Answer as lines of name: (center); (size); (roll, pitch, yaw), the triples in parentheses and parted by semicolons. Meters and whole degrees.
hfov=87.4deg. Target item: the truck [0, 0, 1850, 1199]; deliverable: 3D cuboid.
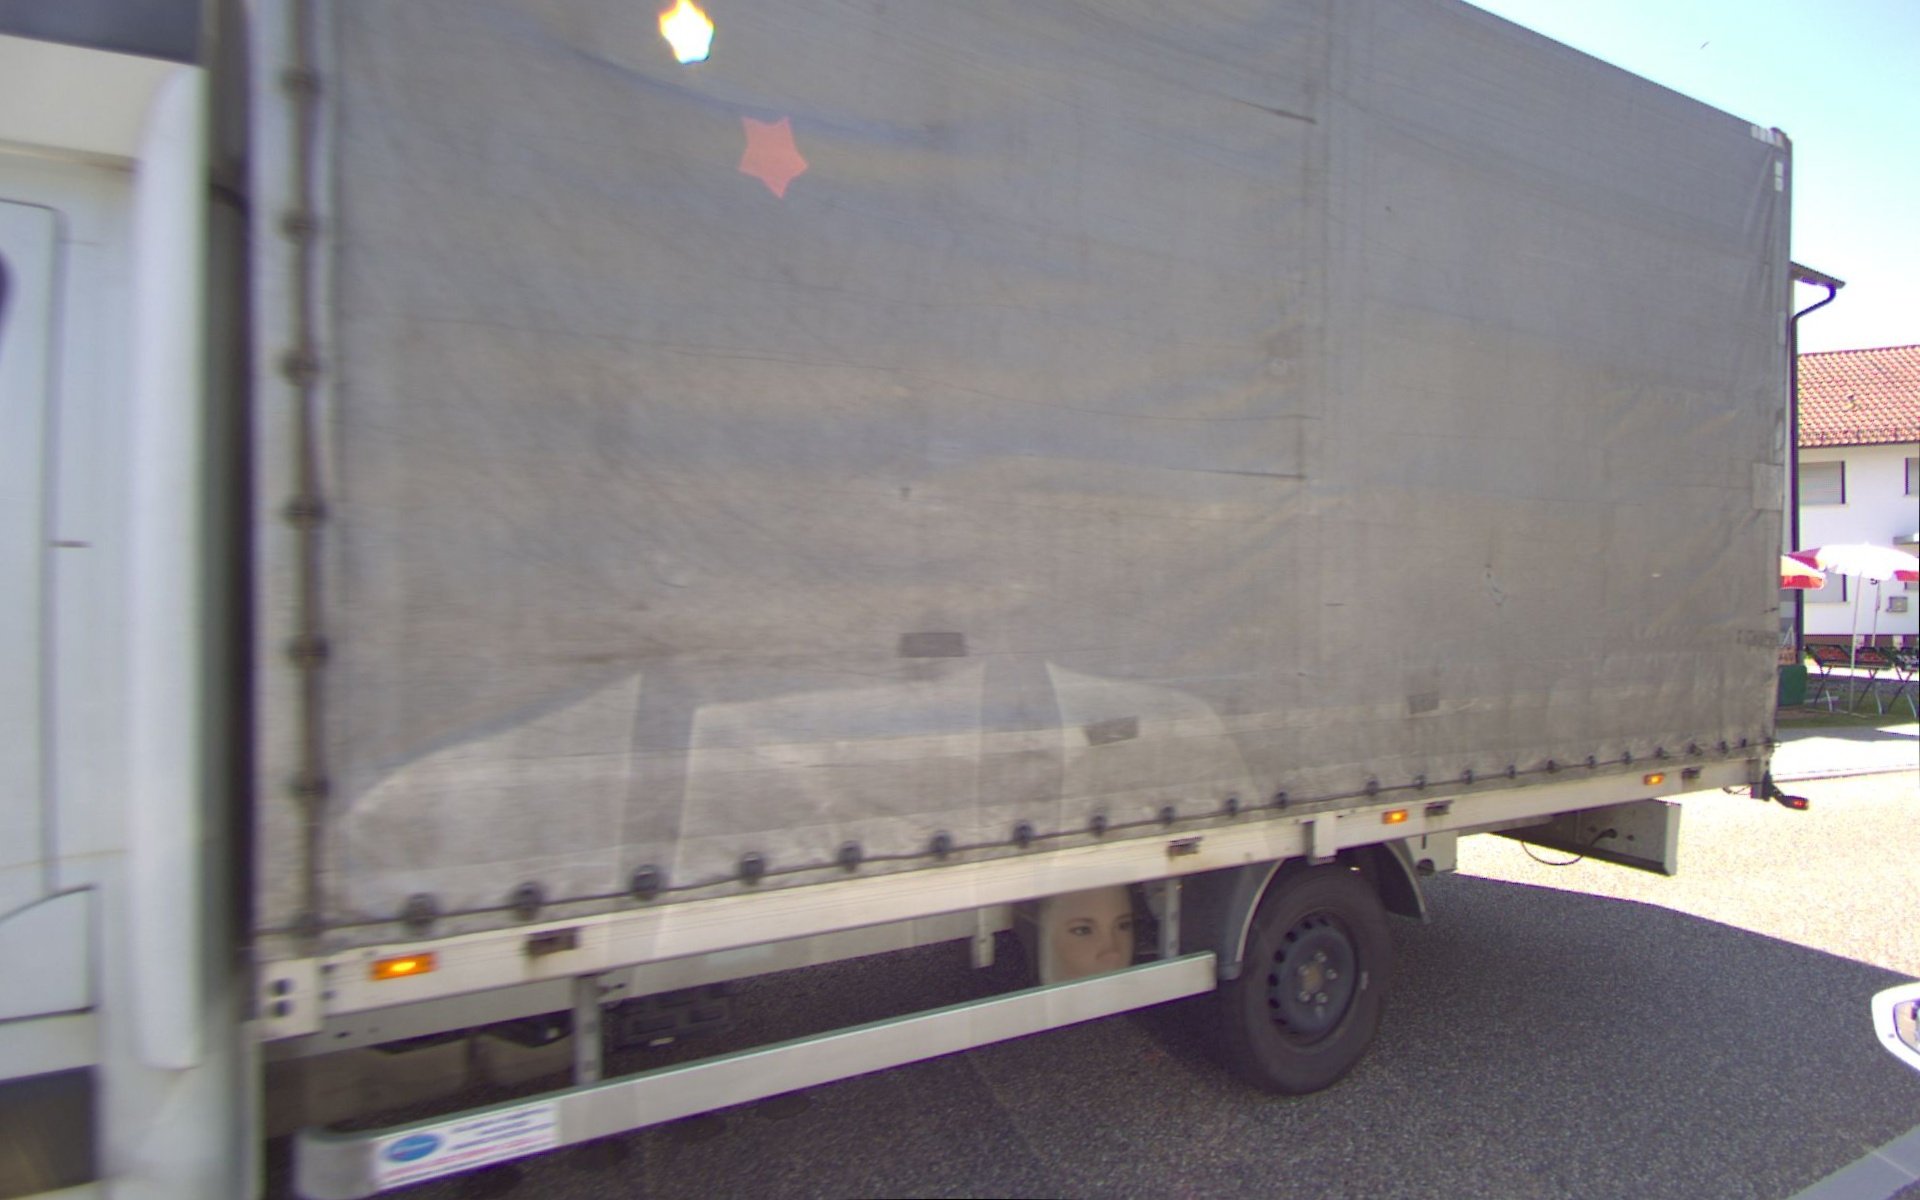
truck: (-0.509, -0.308, 3.201); (7.521, 3.412, 2.456); (1, 1, -28)

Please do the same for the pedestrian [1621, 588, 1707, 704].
pedestrian: (10.005, 0.643, 14.296); (0.792, 1.608, 0.613); (0, -1, 3)
